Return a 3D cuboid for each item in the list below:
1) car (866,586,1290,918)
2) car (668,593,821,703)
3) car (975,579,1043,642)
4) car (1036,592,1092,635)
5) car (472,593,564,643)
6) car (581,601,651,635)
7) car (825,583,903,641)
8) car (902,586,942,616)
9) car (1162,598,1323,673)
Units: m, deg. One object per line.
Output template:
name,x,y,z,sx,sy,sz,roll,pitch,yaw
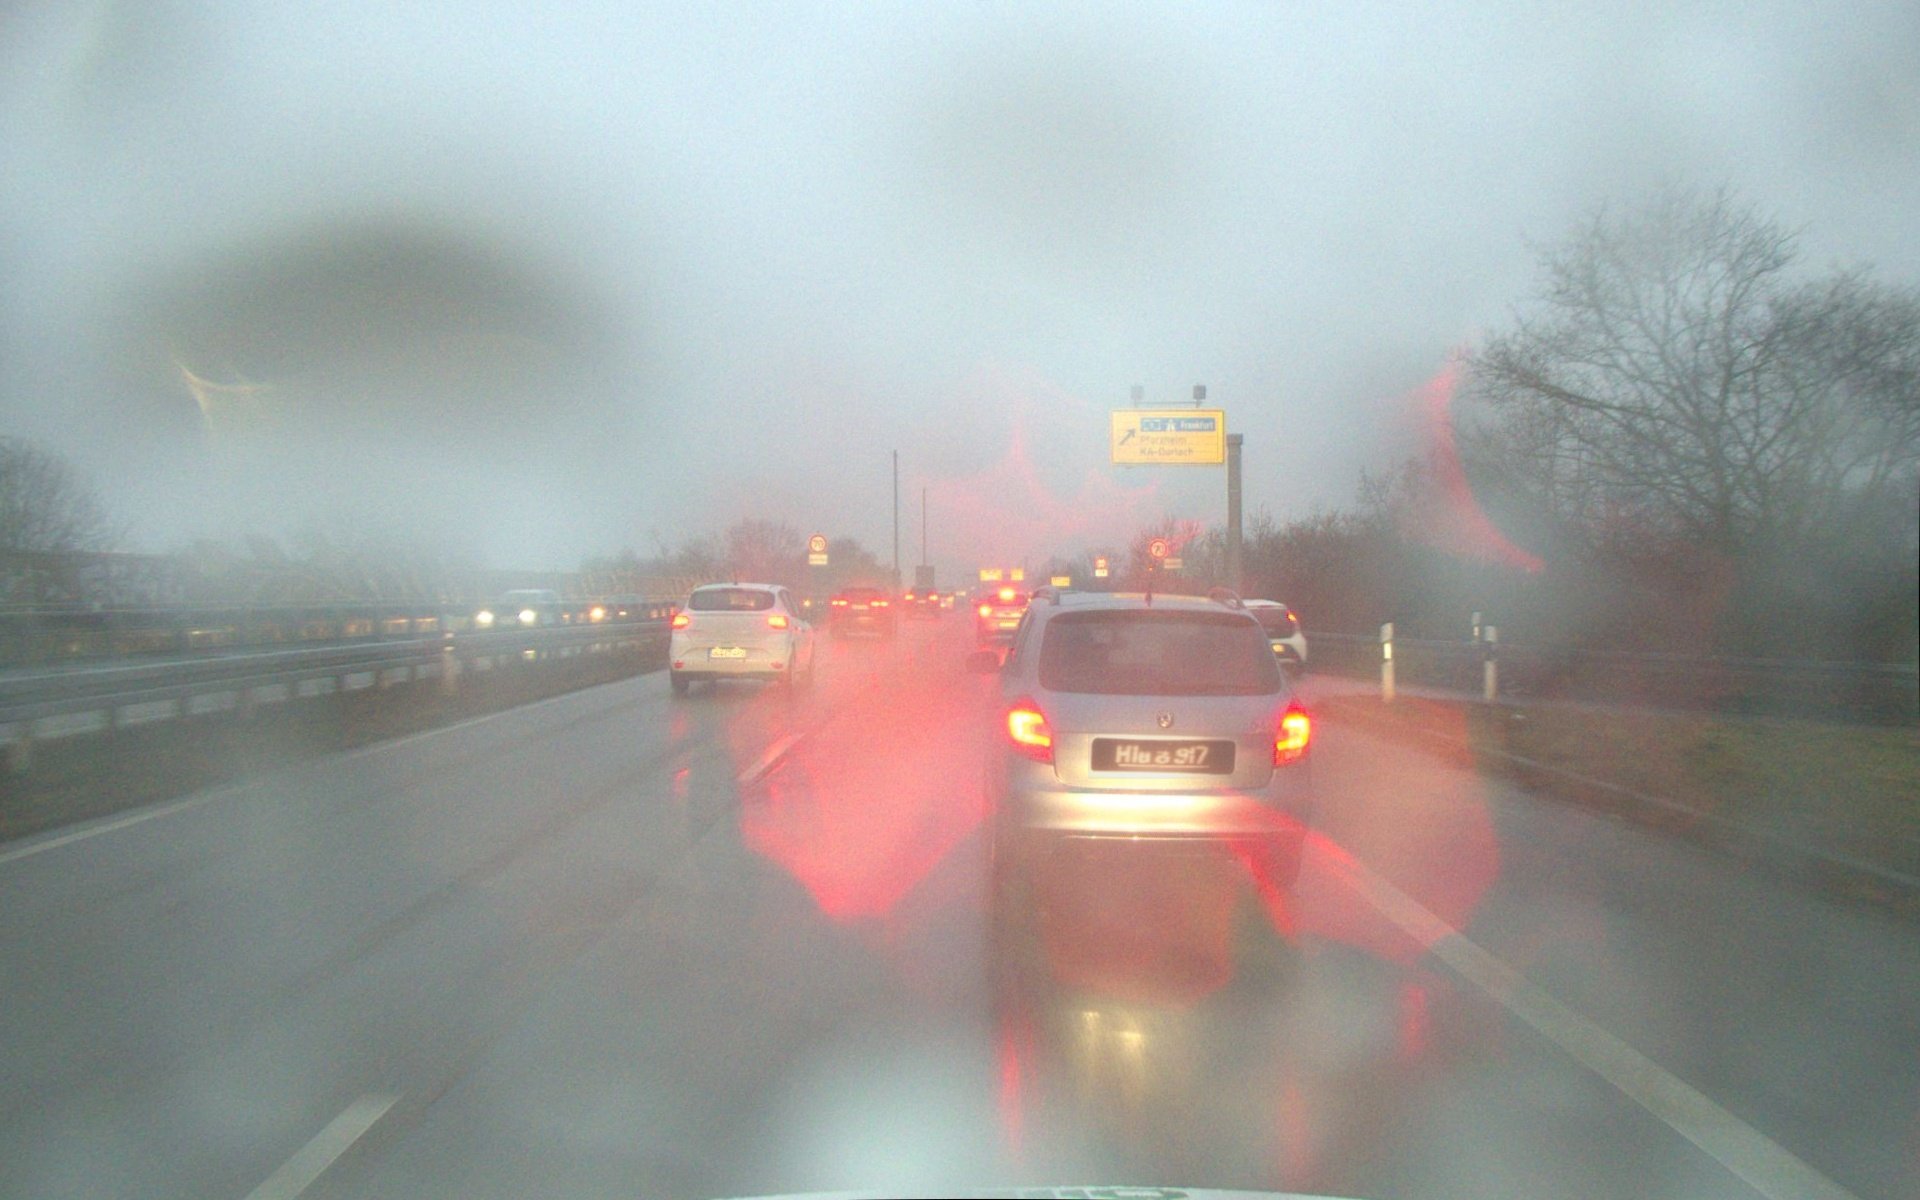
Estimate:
car,0.587,0.701,9.725,1.952,1.527,4.138,0,0,1
car,-3.098,0.647,24.520,1.688,1.465,4.226,0,0,0
car,1.439,0.287,49.805,1.859,1.798,4.308,0,0,-1
car,3.956,0.495,63.388,1.753,1.572,3.999,0,0,-2
car,-15.119,0.584,56.816,1.802,1.589,4.683,1,0,1
car,-15.483,0.784,74.706,1.748,1.428,4.313,0,0,8
car,-2.888,0.341,50.625,1.952,1.629,4.309,2,0,2
car,-1.971,0.034,87.030,1.752,1.572,4.002,0,0,3
car,5.621,0.674,33.414,1.958,1.369,3.990,0,1,-11
